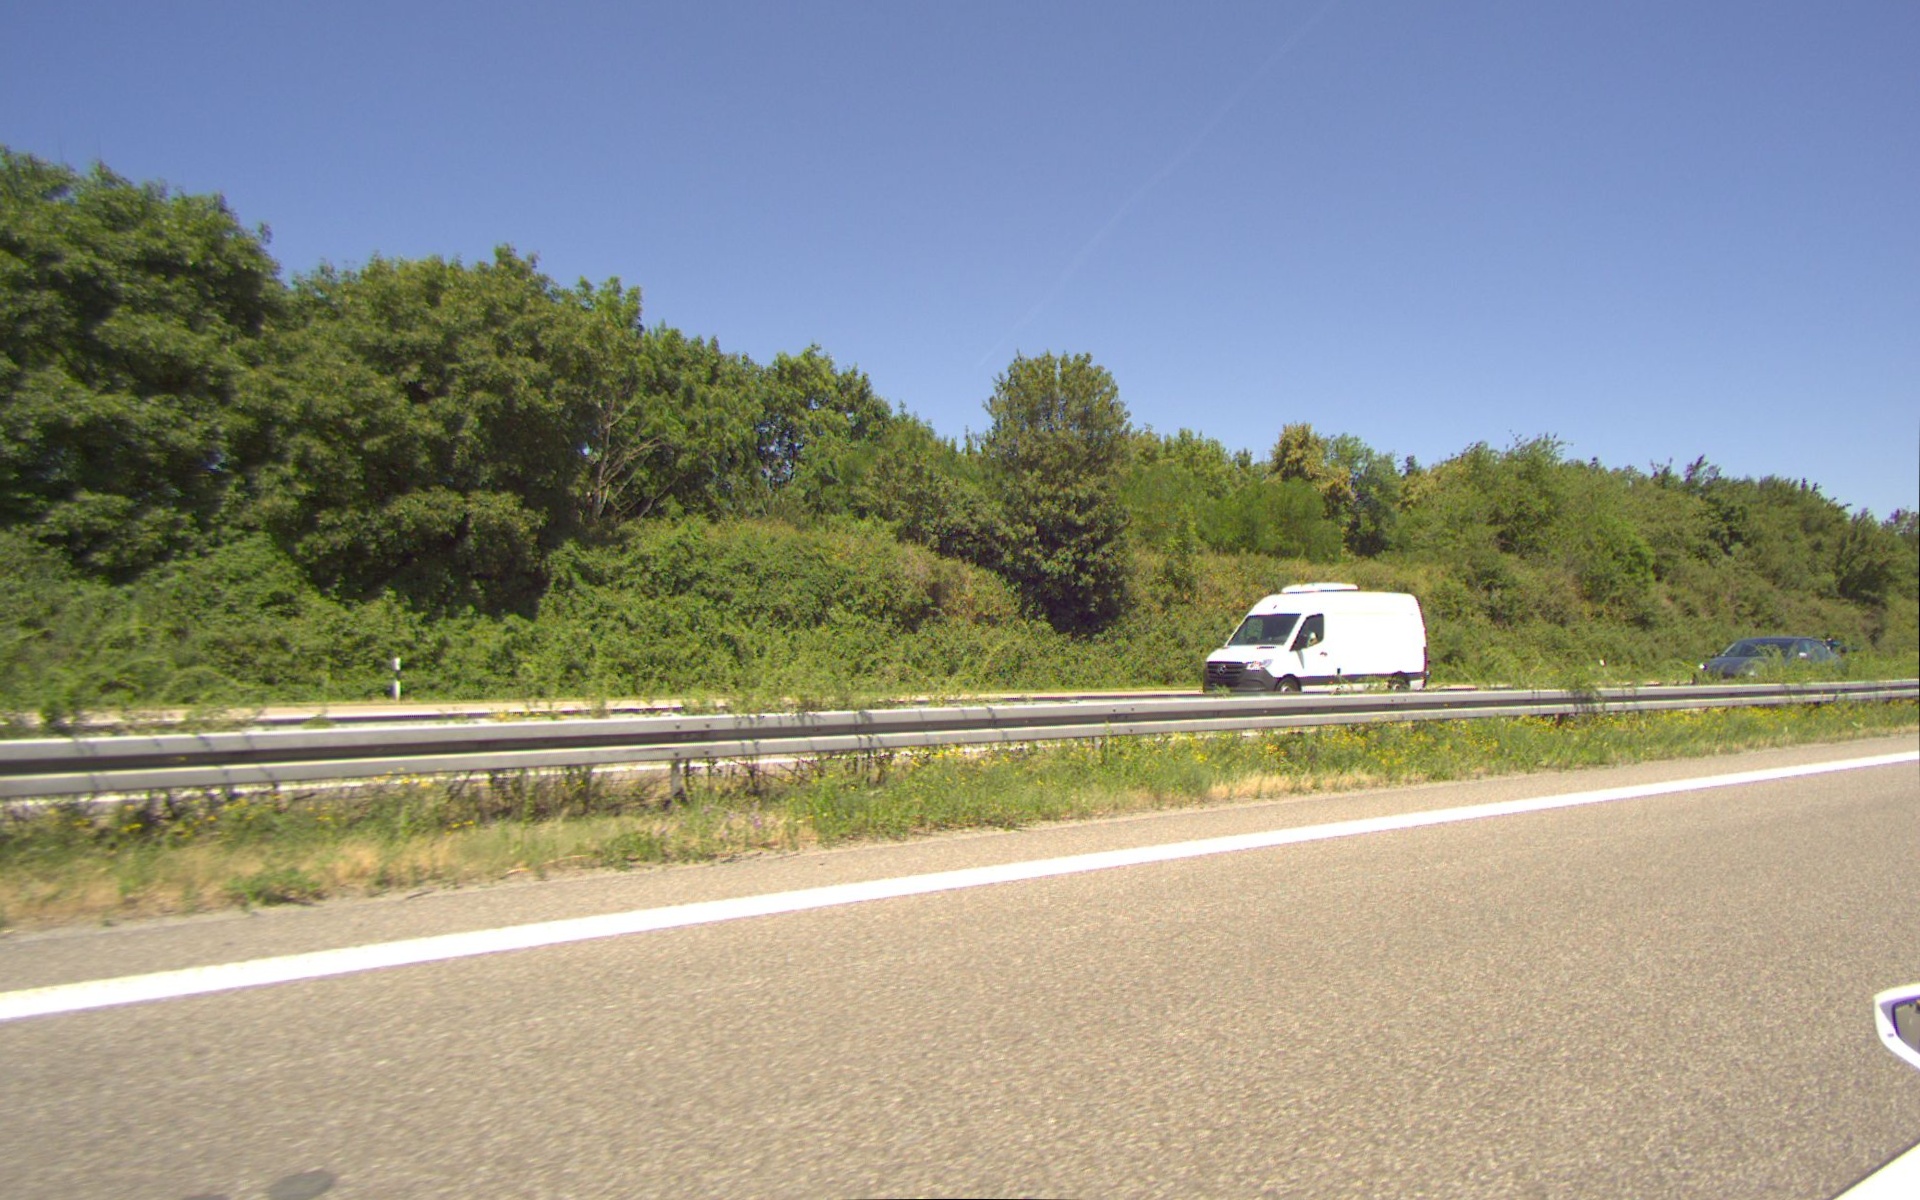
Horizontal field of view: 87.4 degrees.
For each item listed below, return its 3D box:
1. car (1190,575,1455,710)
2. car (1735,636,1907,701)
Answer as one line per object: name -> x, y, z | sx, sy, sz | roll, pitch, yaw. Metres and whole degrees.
car -> 8.473, 1.012, 23.217 | 6.580, 2.782, 2.027 | 2, -3, -30
car -> 23.007, 1.772, 26.815 | 4.985, 1.587, 1.984 | 2, -2, -30
